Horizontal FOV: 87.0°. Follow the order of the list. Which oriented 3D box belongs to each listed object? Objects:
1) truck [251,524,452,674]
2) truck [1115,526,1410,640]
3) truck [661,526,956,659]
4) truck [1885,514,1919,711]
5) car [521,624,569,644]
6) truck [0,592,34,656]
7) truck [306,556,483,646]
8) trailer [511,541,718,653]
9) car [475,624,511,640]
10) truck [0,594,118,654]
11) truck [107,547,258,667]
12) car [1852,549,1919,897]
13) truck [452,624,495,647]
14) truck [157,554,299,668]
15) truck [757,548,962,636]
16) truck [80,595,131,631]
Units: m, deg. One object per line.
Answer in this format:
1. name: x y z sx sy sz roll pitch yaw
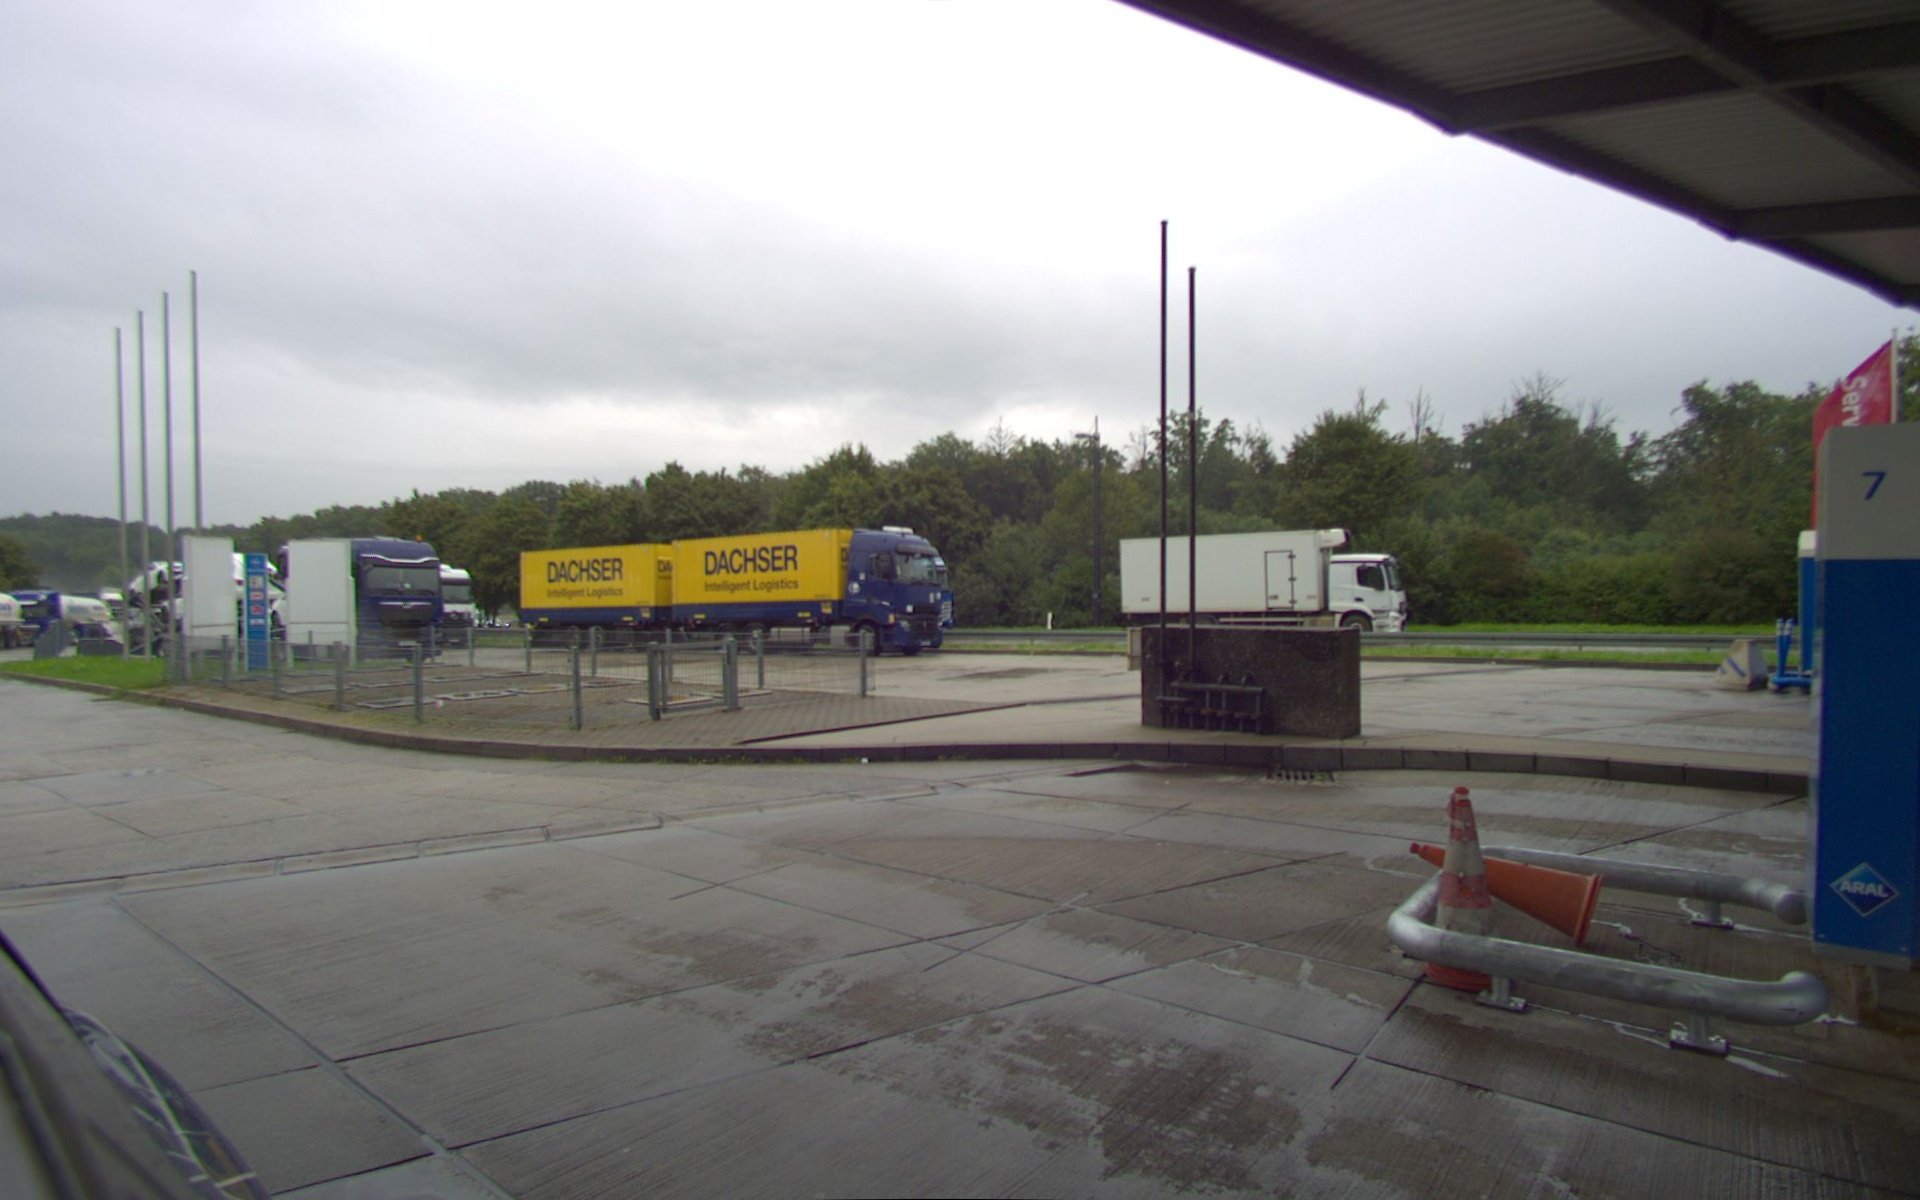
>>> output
1. truck: -19.022 0.011 31.485 7.089 4.213 2.635 -1 0 35
2. truck: 10.956 -0.519 37.457 10.195 3.836 2.395 -1 0 31
3. truck: -5.350 -0.179 34.037 10.654 3.946 2.727 -1 0 33
4. truck: 14.981 0.125 11.964 5.859 2.513 2.208 -1 0 41
5. car: -38.169 3.081 93.151 3.977 1.772 1.875 -1 0 25
6. truck: -55.170 1.337 53.694 3.454 3.633 14.444 -1 -1 -19
7. truck: -27.333 0.103 48.635 10.654 3.946 2.727 -1 0 33
8. trailer: -13.513 -0.074 39.266 8.679 3.946 2.728 -1 0 32
9. car: -53.535 3.624 115.917 3.980 1.706 1.688 -1 0 28
10. truck: -61.510 1.620 68.661 3.454 3.633 14.709 -1 -1 -27
11. truck: -29.602 0.298 38.453 6.605 4.213 2.635 -1 0 35
12. car: 6.898 0.544 3.808 5.269 1.620 1.842 -1 0 41
13. truck: -50.624 3.699 105.315 4.620 2.282 1.712 -1 0 30
14. truck: -26.120 0.395 36.080 4.738 3.800 2.635 -1 0 34
15. truck: -4.893 -0.316 47.652 10.195 3.836 2.395 -1 0 31
16. truck: -126.722 1.858 150.019 11.498 5.160 3.109 -1 0 36
